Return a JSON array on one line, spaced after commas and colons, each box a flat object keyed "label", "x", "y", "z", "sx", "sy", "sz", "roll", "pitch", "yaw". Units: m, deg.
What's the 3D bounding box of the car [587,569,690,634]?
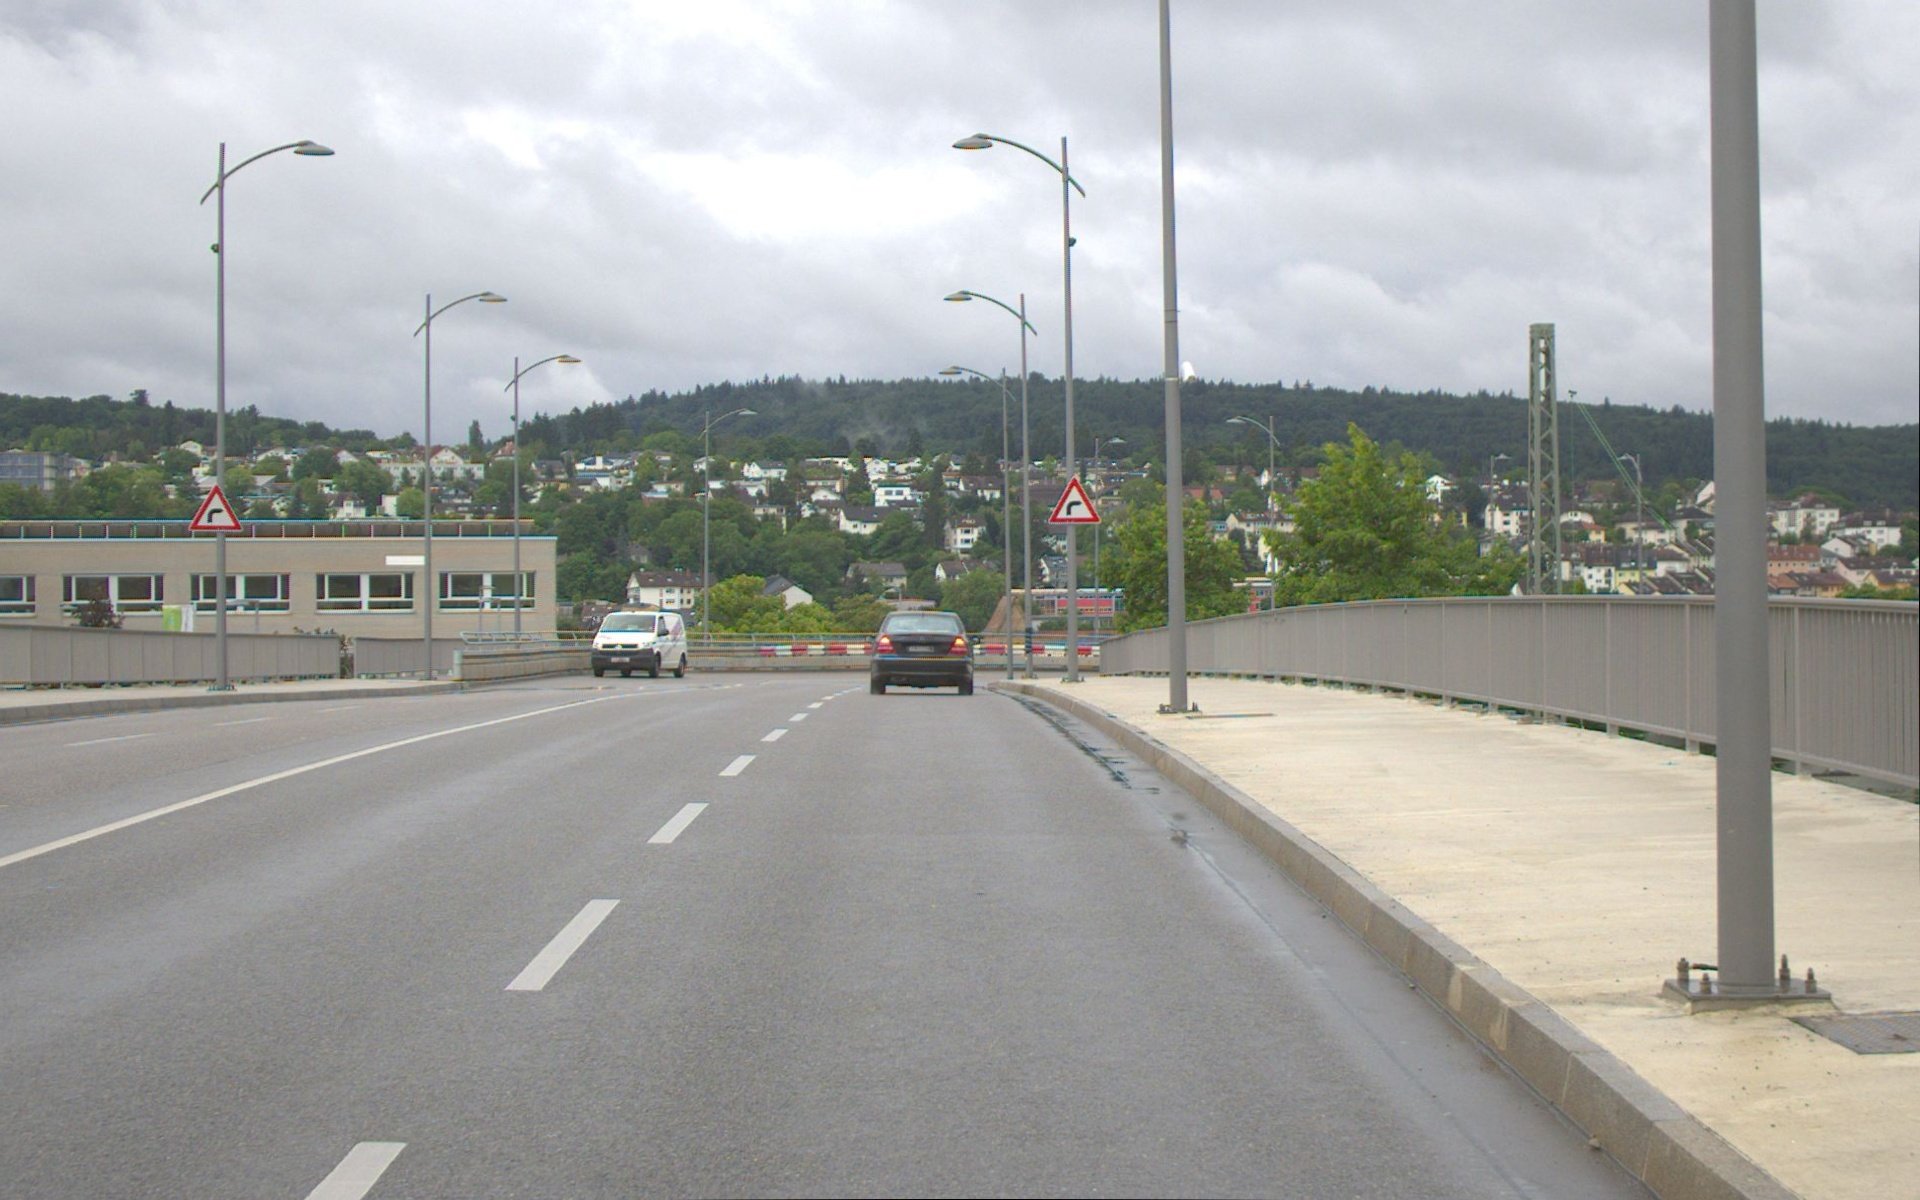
[{"label": "car", "x": -9.355, "y": 0.063, "z": 100.383, "sx": 1.887, "sy": 1.816, "sz": 4.956, "roll": 1, "pitch": -1, "yaw": 8}]

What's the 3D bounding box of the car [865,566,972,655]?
[{"label": "car", "x": -0.699, "y": 0.182, "z": 57.256, "sx": 1.706, "sy": 1.415, "sz": 3.726, "roll": 1, "pitch": 0, "yaw": -1}]
